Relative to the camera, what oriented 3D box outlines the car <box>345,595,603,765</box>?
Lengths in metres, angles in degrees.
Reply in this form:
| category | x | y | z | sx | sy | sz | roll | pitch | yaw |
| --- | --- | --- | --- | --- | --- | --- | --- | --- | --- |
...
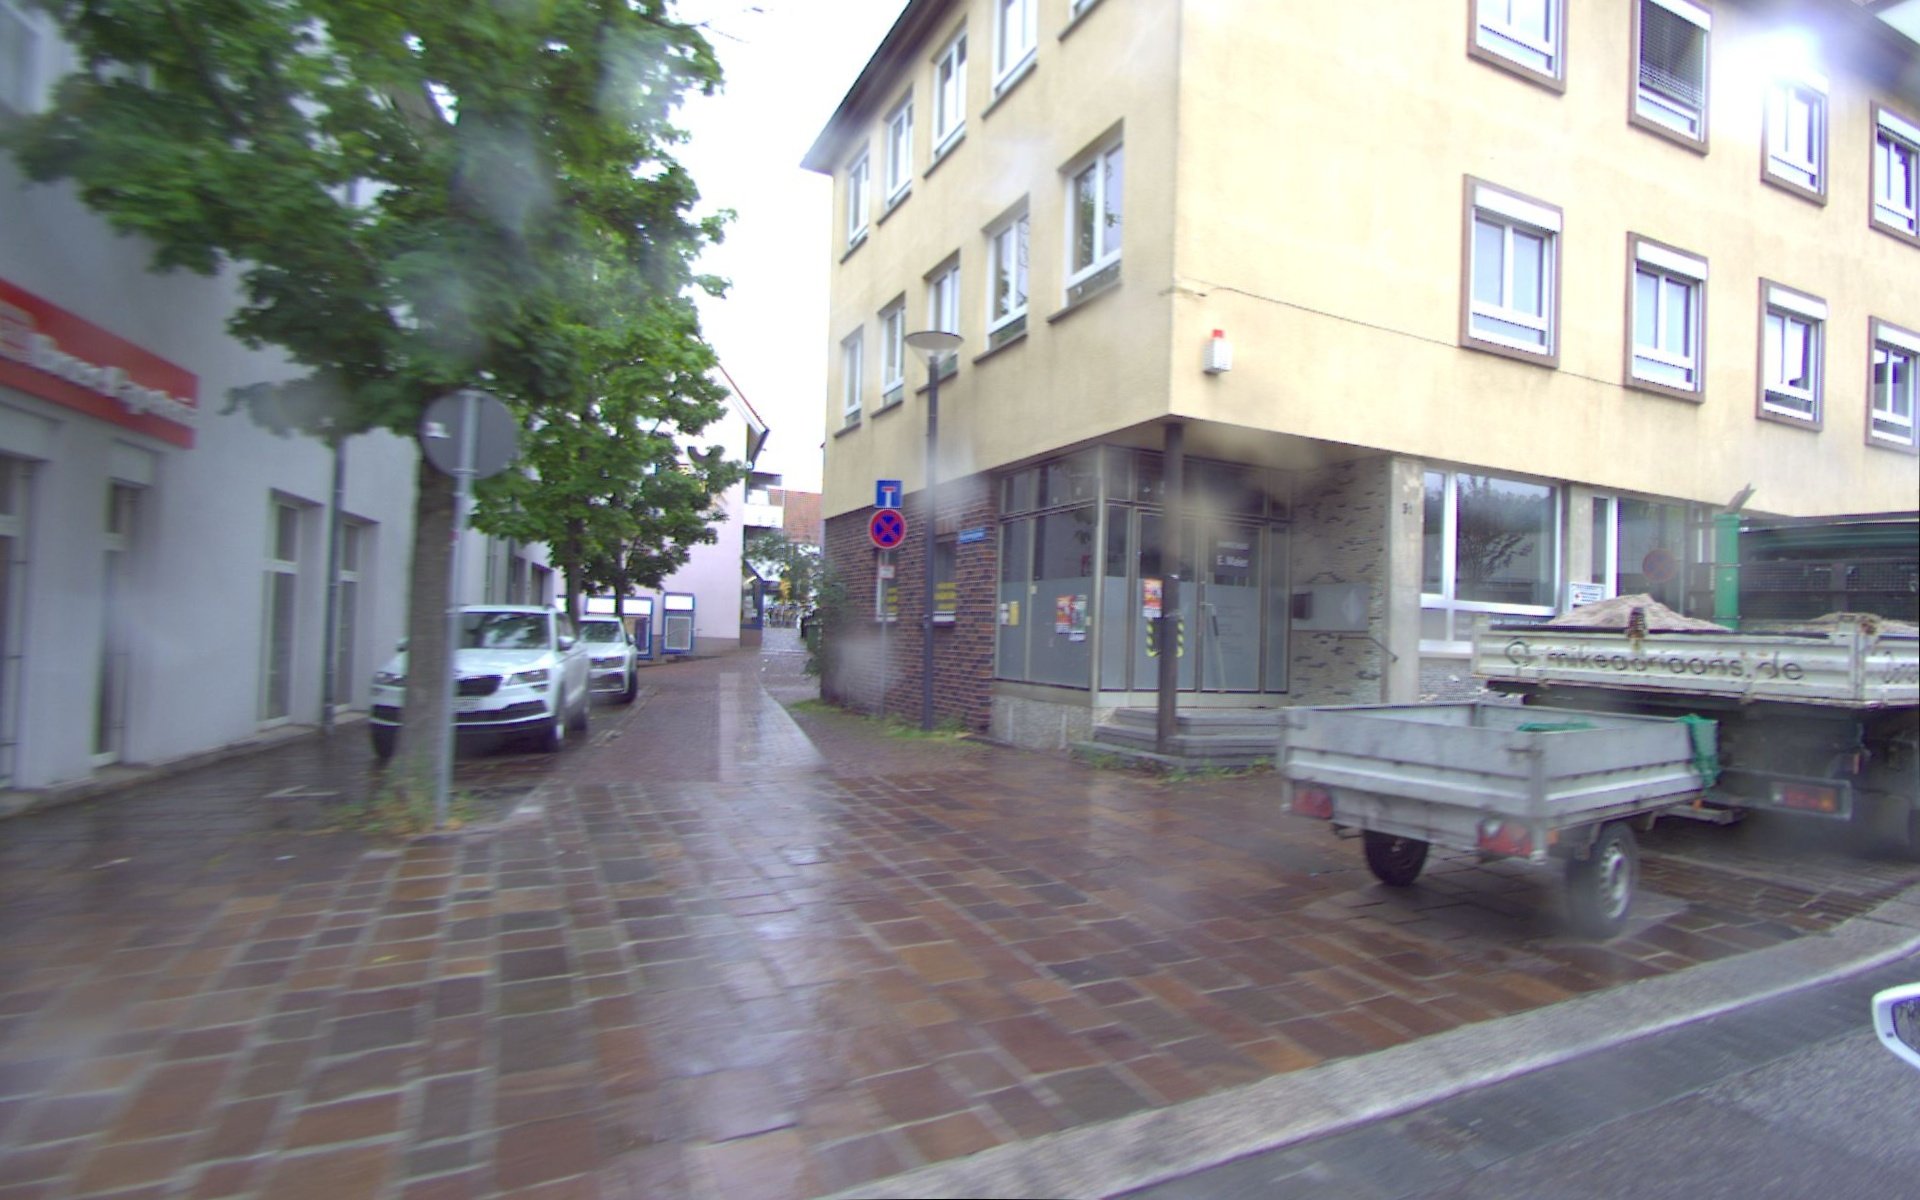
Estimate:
| category | x | y | z | sx | sy | sz | roll | pitch | yaw |
| --- | --- | --- | --- | --- | --- | --- | --- | --- | --- |
| car | -5.339 | 0.833 | 11.619 | 1.933 | 1.585 | 3.988 | 1 | -2 | -15 |

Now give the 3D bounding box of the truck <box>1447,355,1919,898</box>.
| category | x | y | z | sx | sy | sz | roll | pitch | yaw |
| --- | --- | --- | --- | --- | --- | --- | --- | --- | --- |
| truck | 6.963 | 0.194 | 8.051 | 6.527 | 2.832 | 2.460 | 1 | -2 | -33 |

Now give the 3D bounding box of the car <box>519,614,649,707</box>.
| category | x | y | z | sx | sy | sz | roll | pitch | yaw |
| --- | --- | --- | --- | --- | --- | --- | --- | --- | --- |
| car | -7.090 | 1.127 | 19.320 | 1.899 | 1.587 | 3.989 | 1 | -2 | -15 |

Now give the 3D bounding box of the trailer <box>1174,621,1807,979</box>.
| category | x | y | z | sx | sy | sz | roll | pitch | yaw |
| --- | --- | --- | --- | --- | --- | --- | --- | --- | --- |
| trailer | 2.906 | 0.808 | 5.438 | 3.126 | 1.364 | 1.718 | 1 | -2 | -32 |
